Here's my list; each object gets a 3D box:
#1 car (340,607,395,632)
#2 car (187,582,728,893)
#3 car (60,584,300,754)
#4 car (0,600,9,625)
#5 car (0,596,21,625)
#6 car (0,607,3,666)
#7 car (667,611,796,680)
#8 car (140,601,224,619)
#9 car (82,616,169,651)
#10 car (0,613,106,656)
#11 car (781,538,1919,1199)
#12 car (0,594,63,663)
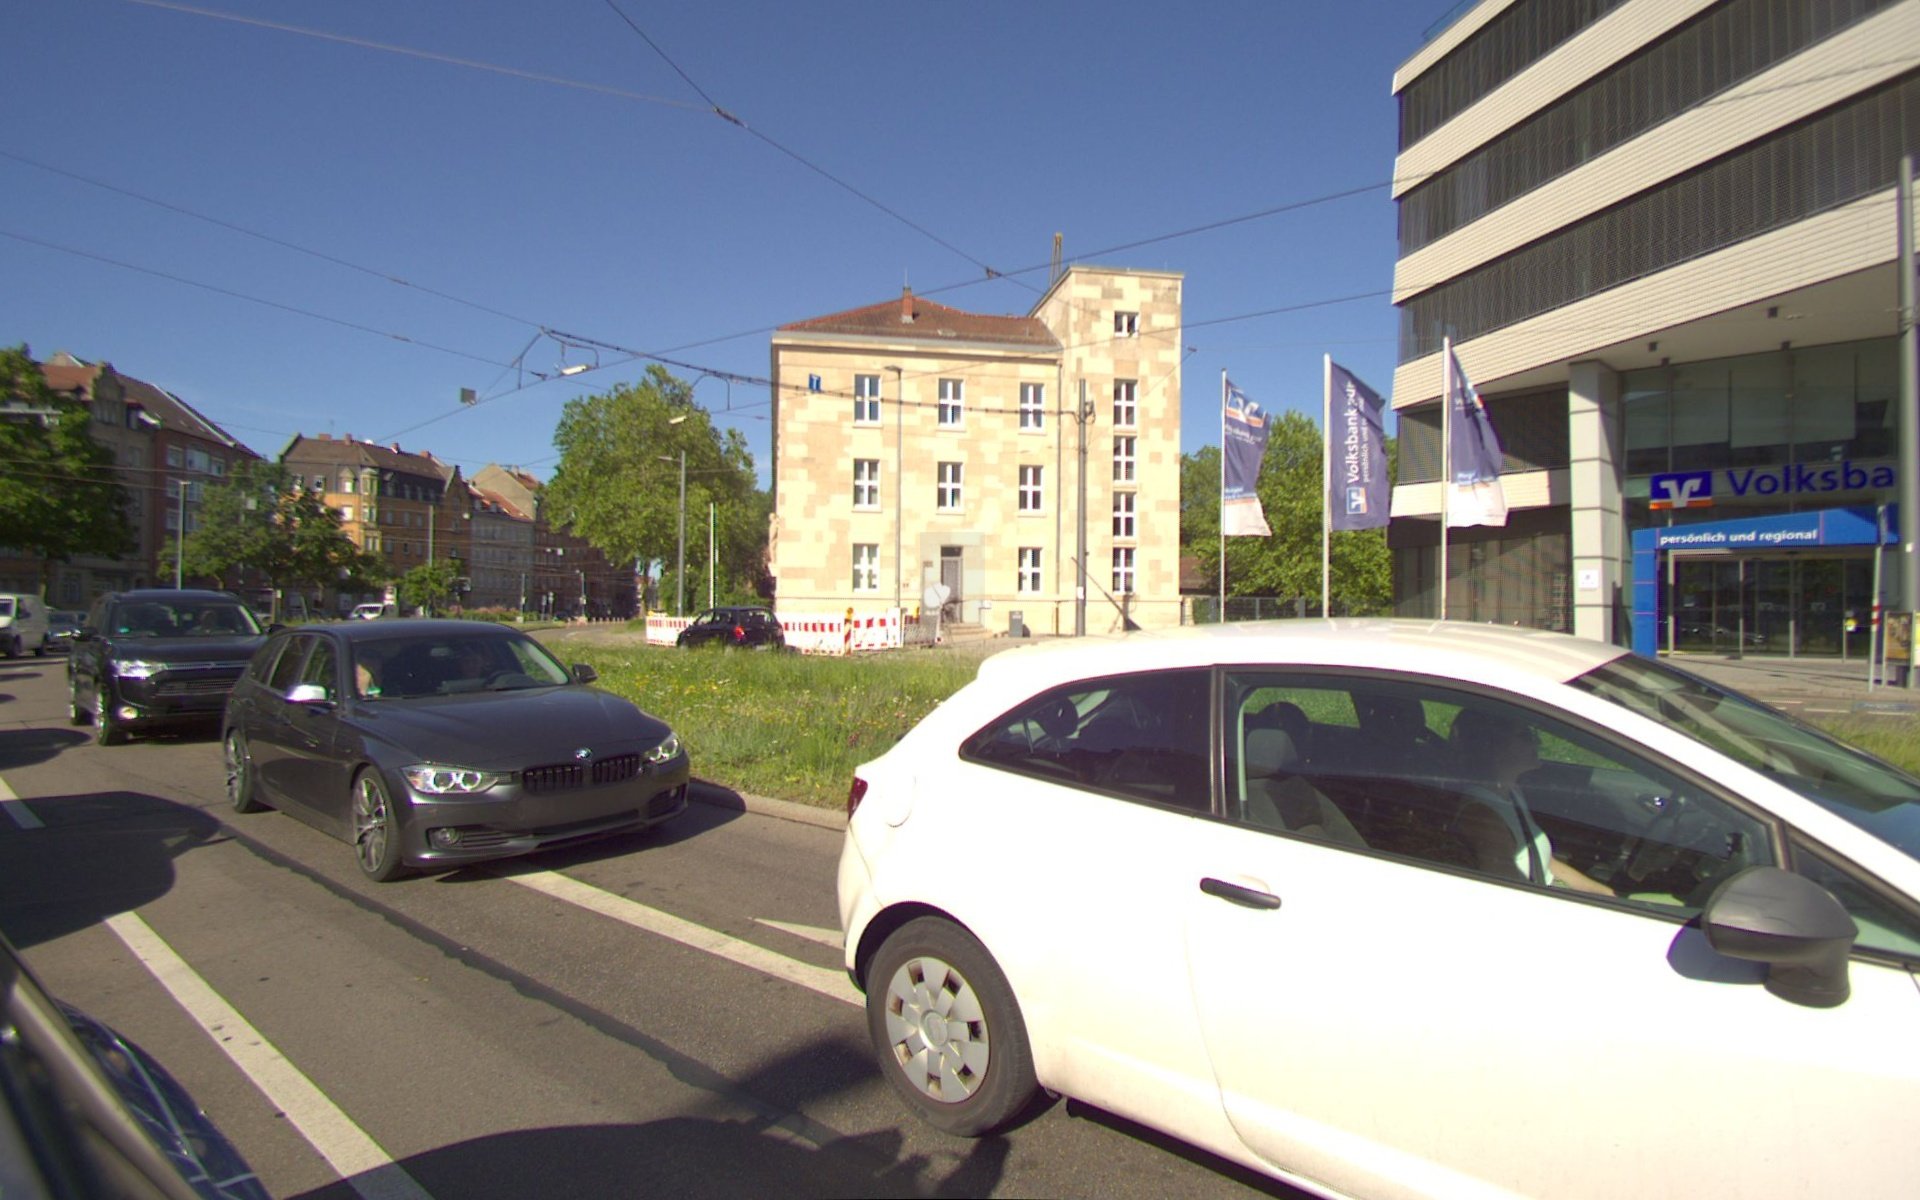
[{"bbox_3d":[-37.711,1.245,64.513,1.844,1.568,4.009,0,-1,-11],"label":"car"},{"bbox_3d":[-3.649,0.650,6.896,4.483,1.441,1.816,-1,0,42],"label":"car"},{"bbox_3d":[-9.530,0.696,12.229,4.329,1.697,1.744,-1,0,45],"label":"car"},{"bbox_3d":[-49.848,0.594,49.731,4.329,1.243,2.004,1,-1,-37],"label":"car"},{"bbox_3d":[-51.533,0.523,52.169,4.329,1.472,2.004,1,-1,-37],"label":"car"},{"bbox_3d":[-26.012,0.967,25.707,1.844,1.627,3.919,1,-1,-34],"label":"car"},{"bbox_3d":[-6.336,1.189,27.811,1.743,1.763,4.005,1,-1,-42],"label":"car"},{"bbox_3d":[-53.822,0.721,70.062,2.000,1.219,4.338,-1,-1,43],"label":"car"},{"bbox_3d":[-35.450,1.398,43.144,1.799,1.395,4.670,1,-1,-26],"label":"car"},{"bbox_3d":[-32.477,1.188,36.346,1.842,1.458,3.921,1,-1,-26],"label":"car"},{"bbox_3d":[1.443,0.607,2.475,3.834,1.441,1.647,-1,2,41],"label":"car"},{"bbox_3d":[-29.585,0.858,31.086,1.842,1.997,4.670,1,-1,-26],"label":"car"}]
